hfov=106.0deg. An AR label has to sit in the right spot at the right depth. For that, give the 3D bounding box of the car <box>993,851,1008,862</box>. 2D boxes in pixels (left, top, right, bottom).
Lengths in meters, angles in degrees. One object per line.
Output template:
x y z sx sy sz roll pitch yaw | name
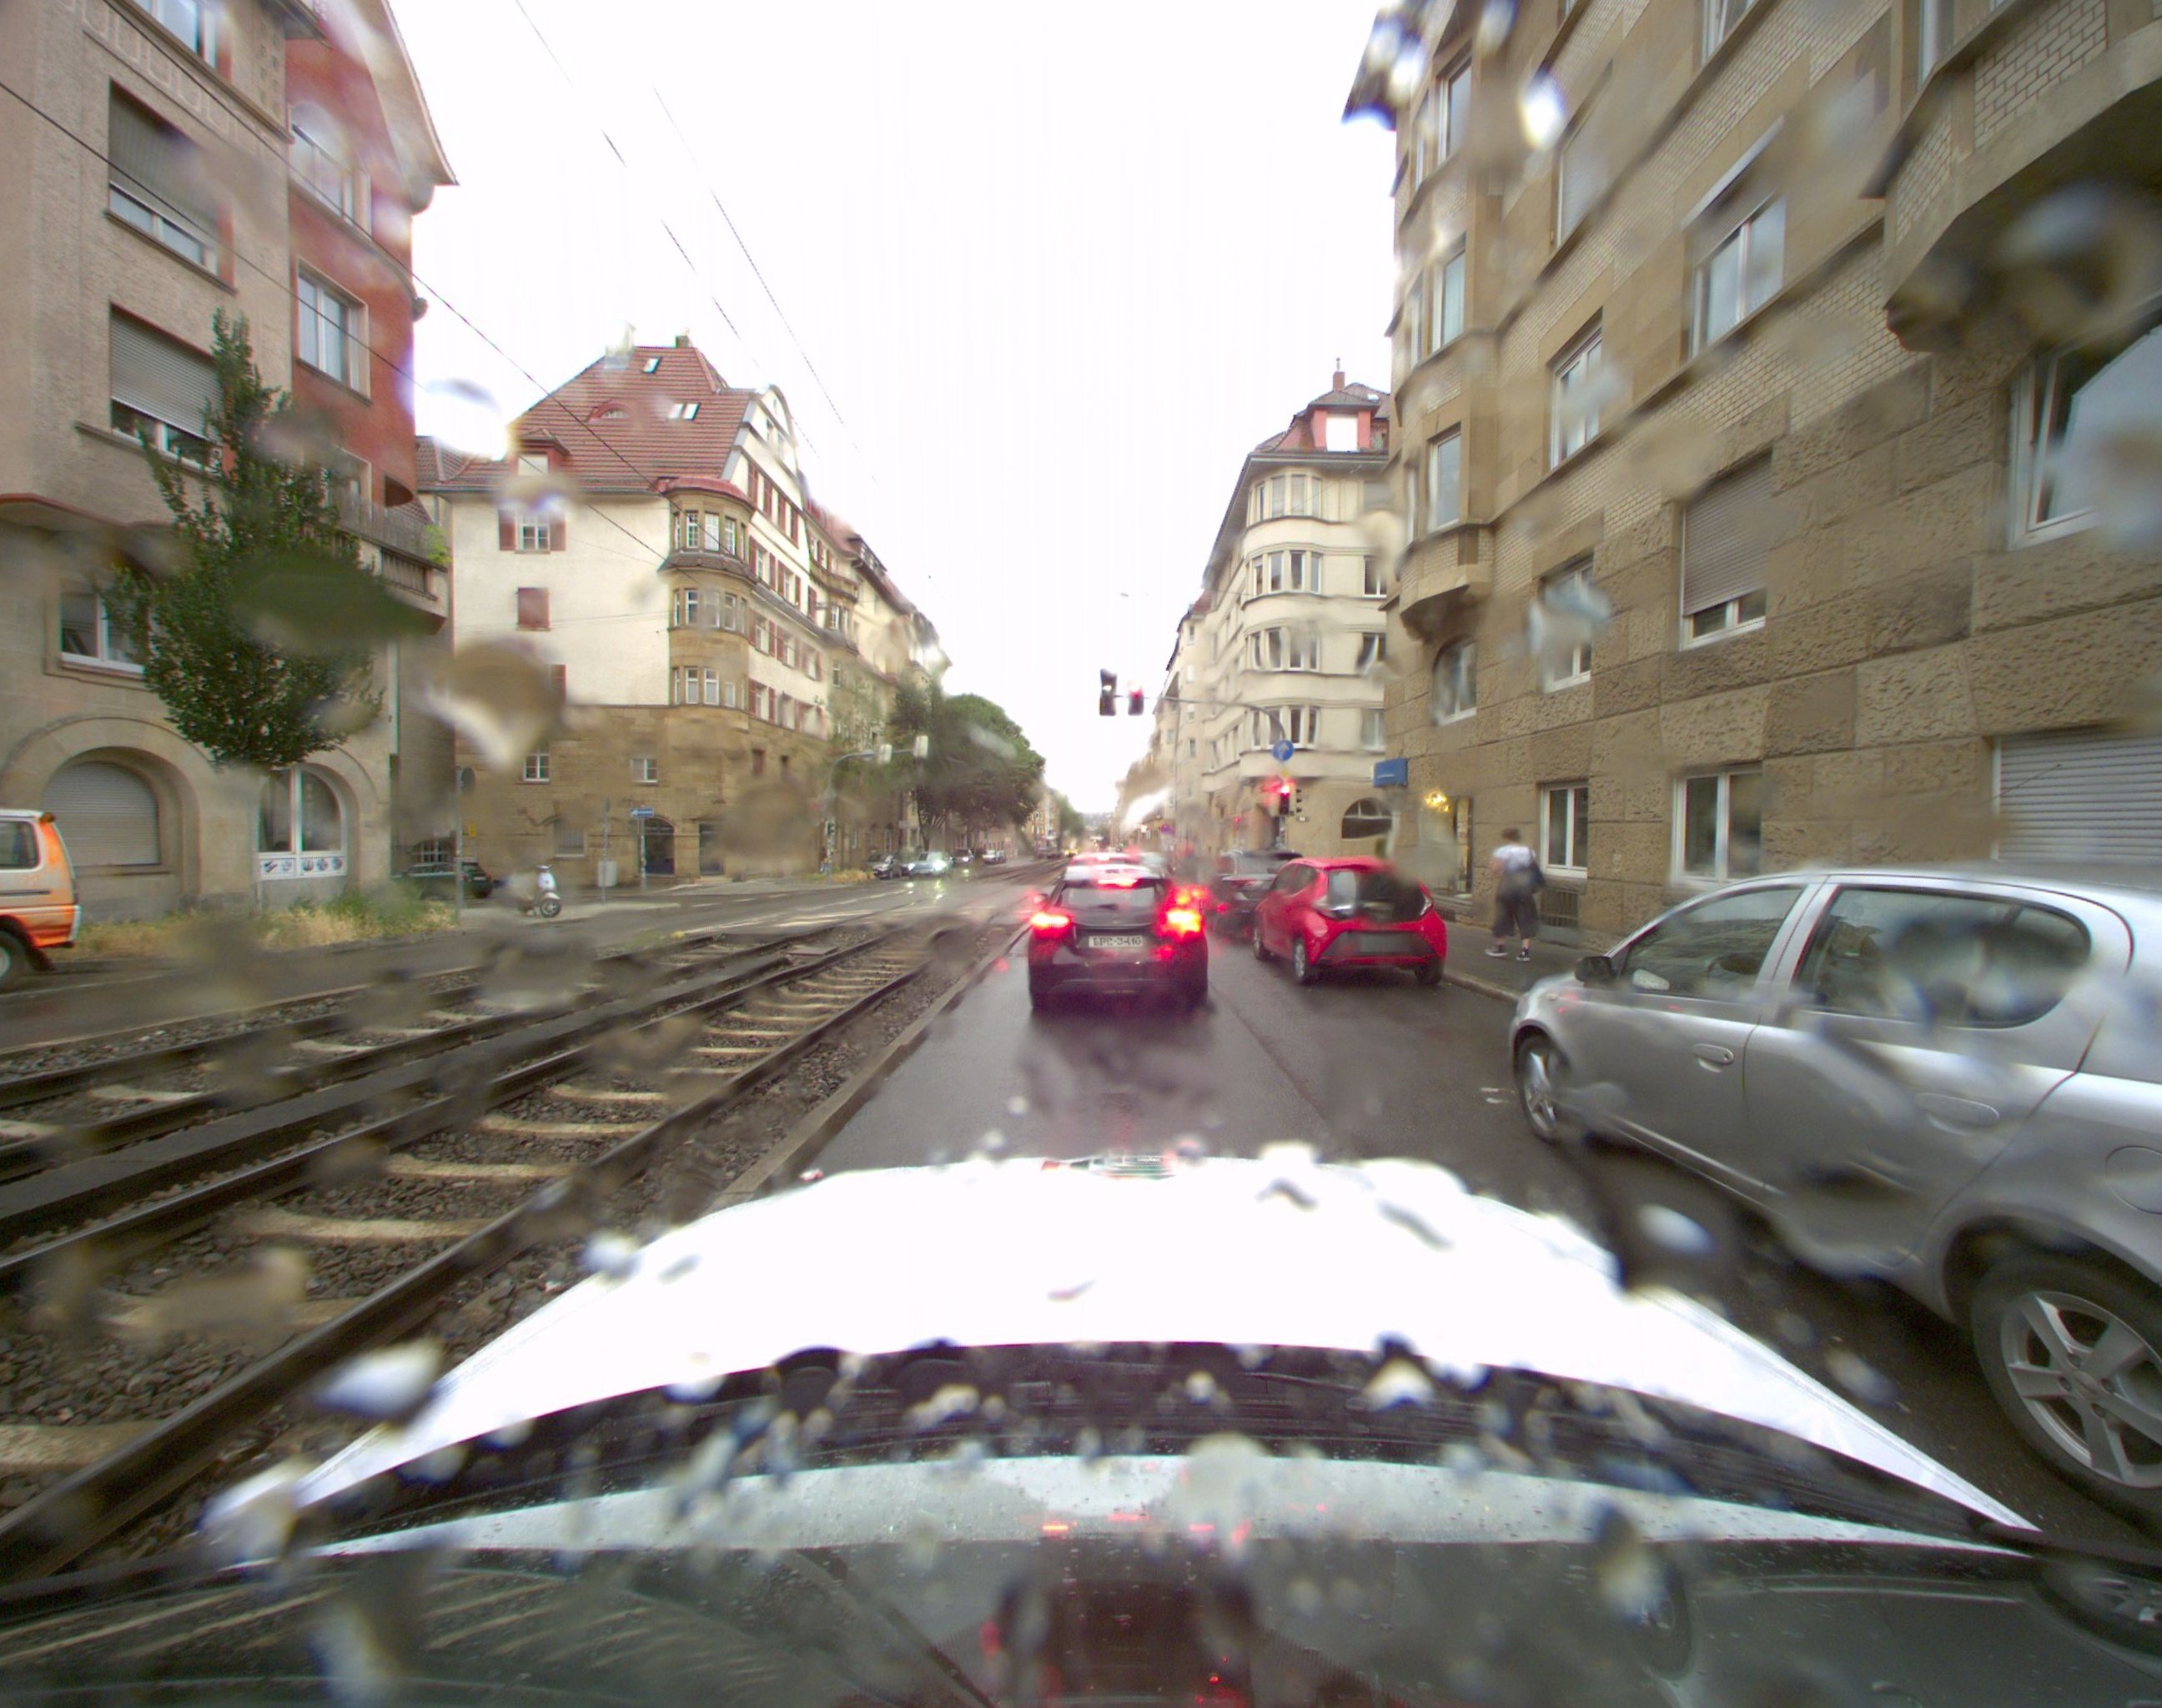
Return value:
-9.796 0.278 99.011 1.443 1.331 3.271 0 -1 0 | car

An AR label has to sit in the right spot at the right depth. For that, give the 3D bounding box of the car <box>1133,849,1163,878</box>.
3.844 0.513 47.174 1.539 1.590 3.549 0 0 2 | car

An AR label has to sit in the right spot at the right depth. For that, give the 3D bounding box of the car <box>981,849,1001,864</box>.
-9.865 0.293 89.595 1.583 1.581 3.920 0 -1 2 | car

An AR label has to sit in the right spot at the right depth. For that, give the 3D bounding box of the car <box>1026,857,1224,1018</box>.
0.469 0.778 9.562 1.822 1.458 4.105 0 0 2 | car

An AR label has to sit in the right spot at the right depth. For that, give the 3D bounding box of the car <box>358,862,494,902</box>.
-24.381 1.016 30.407 3.633 1.404 1.699 0 -1 -3 | car

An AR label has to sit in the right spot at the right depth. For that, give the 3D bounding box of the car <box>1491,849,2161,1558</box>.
3.149 0.738 3.098 1.608 1.467 3.314 -2 0 3 | car

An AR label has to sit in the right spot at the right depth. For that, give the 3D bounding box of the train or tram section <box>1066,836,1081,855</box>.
-1.666 -1.814 175.992 2.772 3.861 10.433 0 -1 2 | train or tram section

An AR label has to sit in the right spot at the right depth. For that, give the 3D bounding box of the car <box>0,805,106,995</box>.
-12.120 0.472 7.208 1.725 1.975 4.341 0 -1 0 | car

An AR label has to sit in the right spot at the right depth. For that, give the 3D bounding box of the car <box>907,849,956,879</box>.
-8.268 0.575 45.429 1.891 1.588 3.974 0 -1 2 | car

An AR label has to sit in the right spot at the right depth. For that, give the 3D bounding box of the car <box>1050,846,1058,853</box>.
-5.233 -0.889 155.649 1.372 1.249 3.297 0 -1 0 | car

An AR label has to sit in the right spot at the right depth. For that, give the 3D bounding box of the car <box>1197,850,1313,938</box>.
3.246 0.683 15.808 1.539 1.486 3.831 0 0 2 | car

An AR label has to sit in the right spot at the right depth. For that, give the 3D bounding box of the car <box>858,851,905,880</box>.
-11.253 0.635 46.115 1.747 1.552 4.033 0 -1 -2 | car

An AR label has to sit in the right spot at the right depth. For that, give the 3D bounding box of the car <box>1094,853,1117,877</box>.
1.748 0.756 58.014 1.538 1.636 3.689 0 0 3 | car

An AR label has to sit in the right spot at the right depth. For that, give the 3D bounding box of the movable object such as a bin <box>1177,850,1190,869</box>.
7.476 0.405 59.555 0.873 1.389 0.984 -1 -1 5 | movable object such as a bin

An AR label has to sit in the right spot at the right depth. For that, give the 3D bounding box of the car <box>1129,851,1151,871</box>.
4.417 0.512 61.581 1.539 1.486 3.549 0 0 2 | car

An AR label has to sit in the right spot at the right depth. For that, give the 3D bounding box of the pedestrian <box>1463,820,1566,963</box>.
5.556 0.461 10.495 0.739 1.748 1.111 0 -1 2 | pedestrian

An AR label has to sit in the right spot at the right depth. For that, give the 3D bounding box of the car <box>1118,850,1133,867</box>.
4.028 0.385 73.672 1.289 1.442 2.930 0 0 2 | car

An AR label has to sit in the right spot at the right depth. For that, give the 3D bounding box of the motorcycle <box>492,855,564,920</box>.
-12.064 0.713 17.764 1.577 1.365 0.628 -1 -1 28 | motorcycle

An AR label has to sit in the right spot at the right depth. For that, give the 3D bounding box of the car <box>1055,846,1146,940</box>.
0.395 0.695 15.958 1.559 1.609 3.815 0 -1 2 | car

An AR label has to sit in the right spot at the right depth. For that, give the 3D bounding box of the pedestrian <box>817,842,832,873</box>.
-14.036 0.201 44.552 0.630 1.672 0.701 0 -1 -7 | pedestrian

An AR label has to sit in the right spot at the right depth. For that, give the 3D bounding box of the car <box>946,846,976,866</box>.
-10.595 0.204 72.138 1.868 1.737 3.920 0 -1 2 | car

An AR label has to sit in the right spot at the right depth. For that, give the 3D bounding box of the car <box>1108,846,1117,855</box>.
6.585 -0.736 170.424 1.986 1.876 4.001 0 -1 2 | car

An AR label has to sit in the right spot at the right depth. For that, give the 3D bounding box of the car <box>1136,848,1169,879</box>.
3.703 0.470 42.700 1.539 1.590 3.549 0 0 2 | car

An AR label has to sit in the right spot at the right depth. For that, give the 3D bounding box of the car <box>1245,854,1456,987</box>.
3.280 0.729 10.564 1.637 1.448 3.298 0 0 -1 | car

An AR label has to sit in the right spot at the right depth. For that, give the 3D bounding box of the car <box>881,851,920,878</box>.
-11.284 0.640 51.150 1.713 1.611 3.914 0 -1 -3 | car
